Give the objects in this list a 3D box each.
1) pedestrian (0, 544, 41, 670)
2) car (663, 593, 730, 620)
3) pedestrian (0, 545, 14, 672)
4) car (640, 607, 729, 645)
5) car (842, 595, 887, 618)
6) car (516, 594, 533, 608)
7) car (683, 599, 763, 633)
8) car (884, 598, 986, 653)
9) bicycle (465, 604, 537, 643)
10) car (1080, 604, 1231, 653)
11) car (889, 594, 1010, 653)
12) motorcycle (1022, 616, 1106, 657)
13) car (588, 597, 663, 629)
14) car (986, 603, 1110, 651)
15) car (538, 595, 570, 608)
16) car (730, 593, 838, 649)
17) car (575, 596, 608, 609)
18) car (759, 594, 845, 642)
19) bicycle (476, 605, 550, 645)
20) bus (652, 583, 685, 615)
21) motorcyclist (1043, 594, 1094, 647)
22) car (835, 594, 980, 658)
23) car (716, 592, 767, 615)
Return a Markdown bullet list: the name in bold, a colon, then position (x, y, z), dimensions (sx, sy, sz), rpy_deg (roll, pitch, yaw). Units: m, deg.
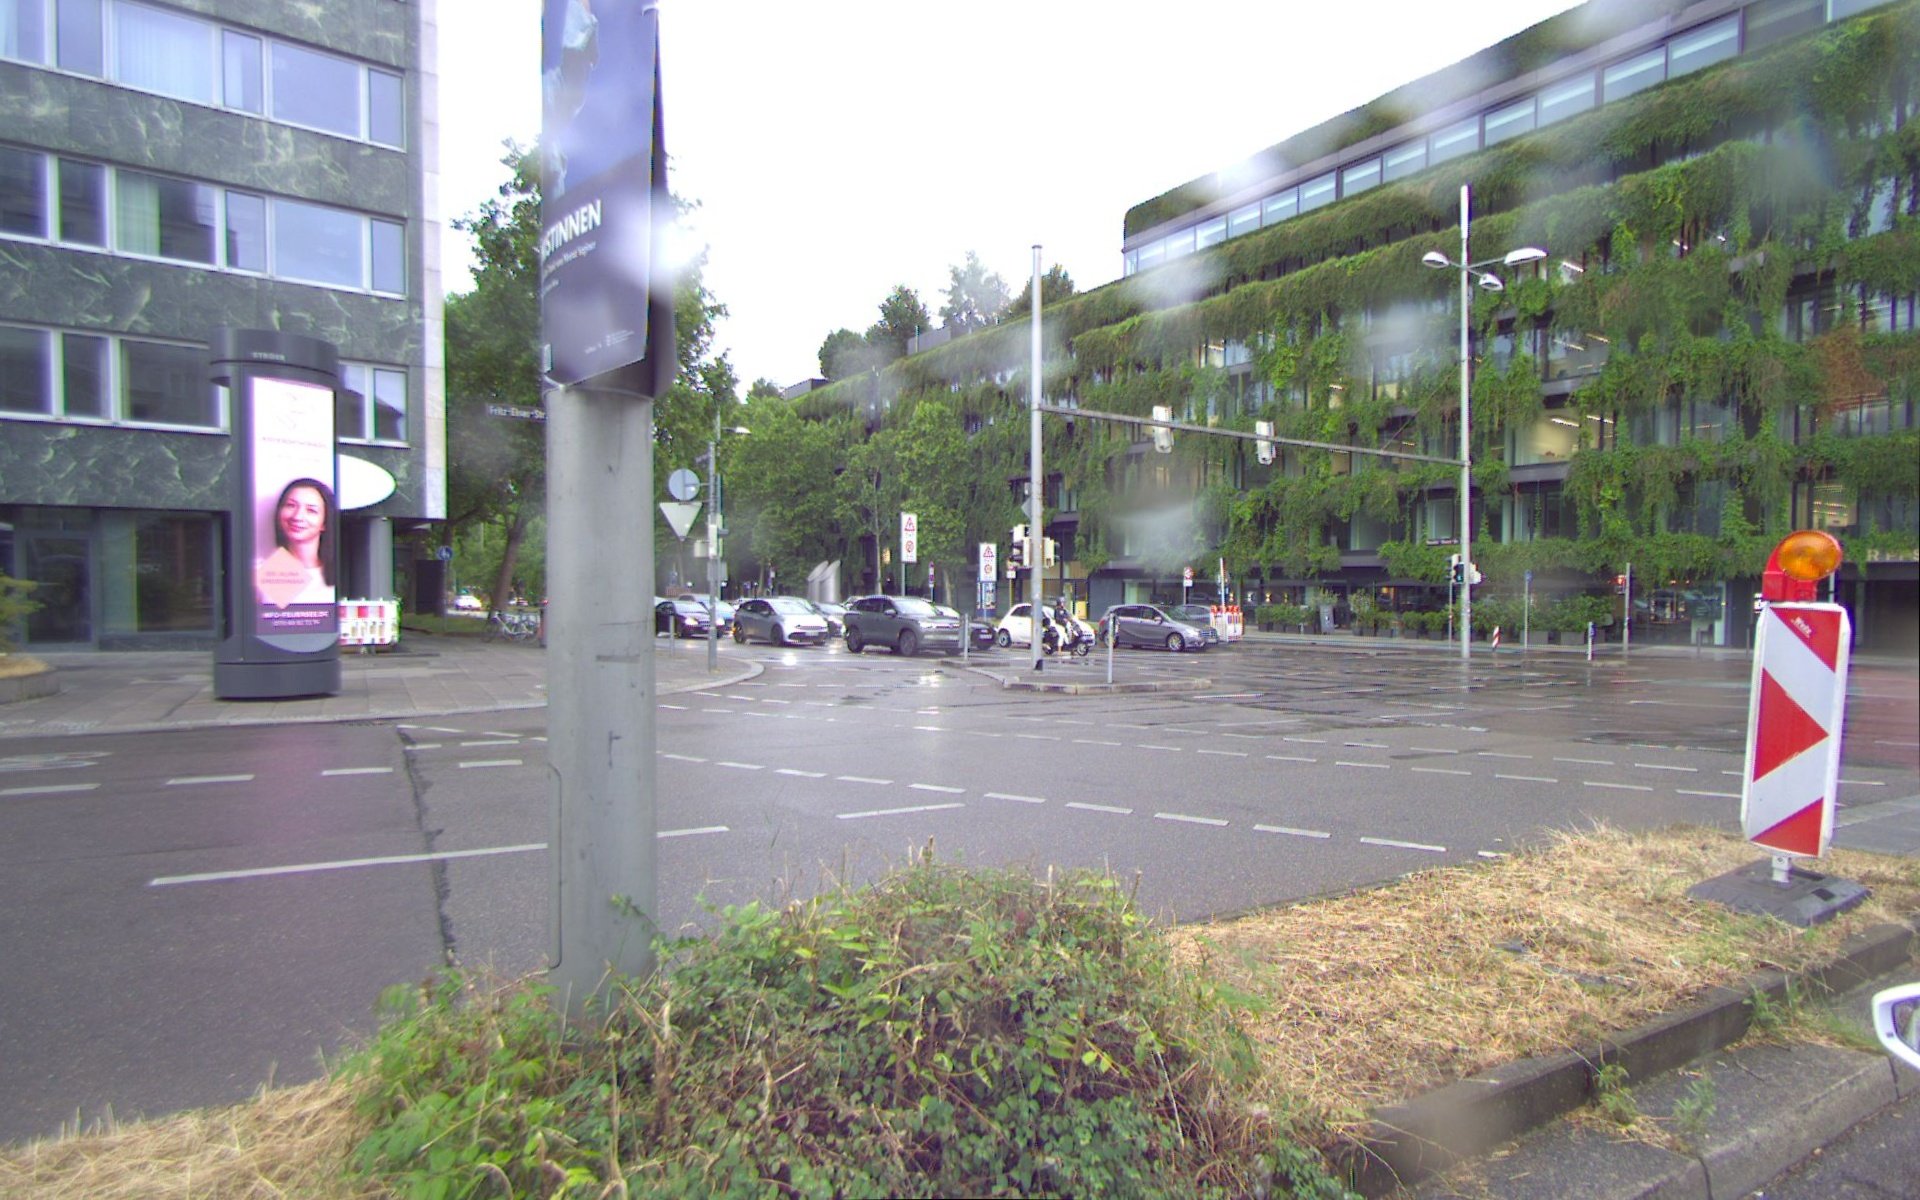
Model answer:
- **pedestrian**: position (-15.854, 0.114, 16.627), dimensions (0.715, 2.040, 0.598), rpy_deg (1, 0, -10)
- **car**: position (-13.927, 0.334, 52.924), dimensions (1.982, 1.389, 4.131), rpy_deg (1, 0, -37)
- **pedestrian**: position (-15.735, 0.128, 16.006), dimensions (0.715, 2.040, 0.598), rpy_deg (1, 0, -10)
- **car**: position (-10.898, 1.002, 39.624), dimensions (1.982, 1.389, 4.131), rpy_deg (1, 0, -37)
- **car**: position (-7.365, 0.486, 77.246), dimensions (1.783, 1.588, 3.962), rpy_deg (2, 0, -34)
- **car**: position (-62.756, 0.116, 144.782), dimensions (1.975, 2.040, 3.972), rpy_deg (1, 0, -27)
- **car**: position (-10.673, 0.696, 45.022), dimensions (1.982, 1.389, 4.131), rpy_deg (1, 0, -37)
- **car**: position (-1.008, 0.913, 37.764), dimensions (1.978, 1.923, 4.139), rpy_deg (1, 0, -33)
- **bicycle**: position (-12.973, 0.662, 28.411), dimensions (1.765, 1.066, 0.581), rpy_deg (1, 0, -35)
- **car**: position (6.621, 0.936, 34.410), dimensions (4.842, 1.508, 1.922), rpy_deg (1, 0, 45)
- **car**: position (-0.391, 0.709, 32.549), dimensions (1.981, 1.773, 3.958), rpy_deg (1, 0, -37)
- **motorcycle**: position (2.997, 1.049, 29.105), dimensions (2.331, 1.068, 0.830), rpy_deg (2, 0, 41)
- **car**: position (-15.033, 0.563, 45.035), dimensions (1.982, 1.389, 4.131), rpy_deg (1, 0, -37)
- **car**: position (2.875, 0.858, 33.466), dimensions (1.981, 1.495, 3.958), rpy_deg (1, 0, -37)
- **car**: position (-47.728, 0.172, 118.033), dimensions (1.919, 1.508, 4.849), rpy_deg (1, 0, -41)
- **car**: position (-6.015, 0.672, 34.035), dimensions (1.982, 1.773, 3.956), rpy_deg (1, 0, -38)
- **car**: position (-42.532, 0.277, 115.951), dimensions (1.919, 1.508, 4.849), rpy_deg (1, 0, -41)
- **car**: position (-6.289, 0.660, 39.670), dimensions (1.841, 1.791, 4.139), rpy_deg (1, 0, -32)
- **bicycle**: position (-12.295, 0.678, 27.634), dimensions (1.765, 1.066, 0.581), rpy_deg (1, 0, -35)
- **bus**: position (-32.019, -0.165, 110.233), dimensions (1.783, 3.385, 5.922), rpy_deg (2, 0, -34)
- **motorcyclist**: position (3.137, 0.583, 28.993), dimensions (1.153, 1.492, 0.832), rpy_deg (2, 0, 40)
- **car**: position (-1.598, 0.702, 29.154), dimensions (1.984, 1.709, 4.314), rpy_deg (1, 0, -41)
- **car**: position (-17.673, 0.265, 81.155), dimensions (1.919, 1.828, 4.849), rpy_deg (1, 0, -41)
